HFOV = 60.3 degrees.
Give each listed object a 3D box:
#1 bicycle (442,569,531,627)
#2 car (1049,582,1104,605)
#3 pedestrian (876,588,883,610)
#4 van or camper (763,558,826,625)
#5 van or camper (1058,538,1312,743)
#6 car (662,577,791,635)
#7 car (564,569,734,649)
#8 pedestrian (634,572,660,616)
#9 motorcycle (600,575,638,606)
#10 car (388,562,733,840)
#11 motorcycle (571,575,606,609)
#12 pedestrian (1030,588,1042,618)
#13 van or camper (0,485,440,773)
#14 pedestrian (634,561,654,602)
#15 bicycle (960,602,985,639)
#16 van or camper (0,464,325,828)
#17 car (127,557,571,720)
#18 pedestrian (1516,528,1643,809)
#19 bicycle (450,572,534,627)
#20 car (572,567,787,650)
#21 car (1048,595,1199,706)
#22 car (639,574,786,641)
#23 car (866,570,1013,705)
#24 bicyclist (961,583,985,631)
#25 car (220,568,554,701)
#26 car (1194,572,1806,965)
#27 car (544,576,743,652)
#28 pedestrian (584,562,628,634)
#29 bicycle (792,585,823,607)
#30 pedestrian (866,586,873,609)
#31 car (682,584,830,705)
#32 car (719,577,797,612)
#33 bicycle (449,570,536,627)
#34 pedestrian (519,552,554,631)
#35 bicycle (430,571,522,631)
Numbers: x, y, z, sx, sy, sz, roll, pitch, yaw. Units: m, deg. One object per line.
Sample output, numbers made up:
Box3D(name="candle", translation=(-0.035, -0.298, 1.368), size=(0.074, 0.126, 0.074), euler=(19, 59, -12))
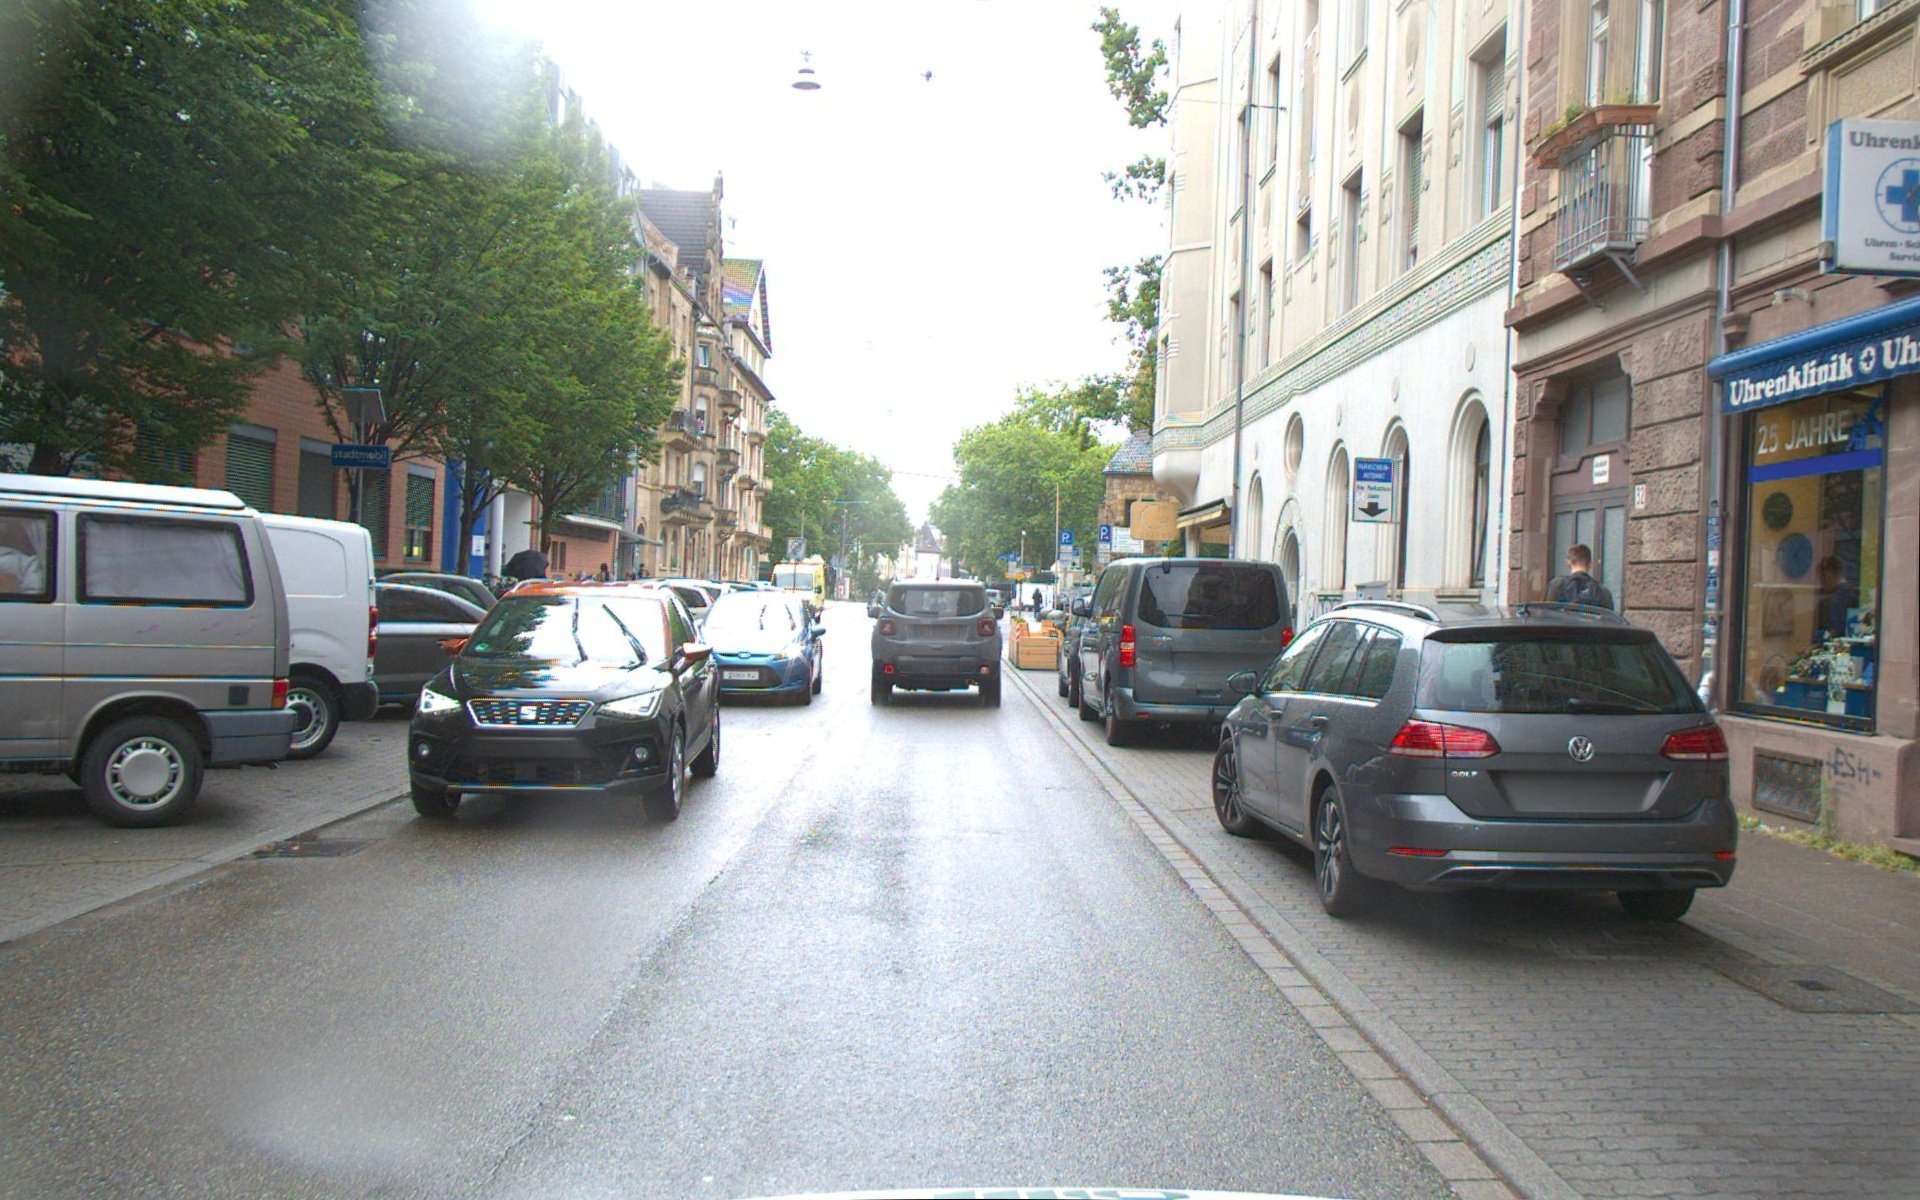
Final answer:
Box3D(name="bicycle", translation=(-11.250, -0.057, 39.336), size=(1.859, 1.172, 0.553), euler=(6, 0, -4))
Box3D(name="car", translation=(12.461, -0.711, 176.967), size=(5.781, 2.375, 2.060), euler=(1, 0, 2))
Box3D(name="pedestrian", translation=(-5.799, -0.084, 119.617), size=(0.458, 1.613, 0.752), euler=(2, 0, -2))
Box3D(name="van or camper", translation=(-7.005, -0.282, 70.738), size=(2.078, 2.575, 6.872), euler=(-2, -2, -1))
Box3D(name="van or camper", translation=(2.285, 0.369, 18.220), size=(1.980, 1.924, 5.053), euler=(1, 0, -1))
Box3D(name="car", translation=(-6.809, 0.188, 48.296), size=(3.342, 1.533, 1.663), euler=(3, 0, -32))
Box3D(name="car", translation=(-6.884, 0.203, 36.633), size=(3.346, 1.683, 1.615), euler=(1, 0, -34))
Box3D(name="pedestrian", translation=(-11.682, -0.232, 61.777), size=(0.694, 1.578, 0.608), euler=(4, 0, 6))
Box3D(name="motorcycle", translation=(-14.085, -0.394, 68.314), size=(0.560, 1.194, 1.780), euler=(4, 0, 22))
Box3D(name="car", translation=(-2.625, 0.594, 11.752), size=(1.636, 1.586, 4.001), euler=(2, 0, -3))
Box3D(name="motorcycle", translation=(-13.970, -0.307, 62.245), size=(0.738, 1.194, 2.115), euler=(4, 0, 0))
Box3D(name="pedestrian", translation=(4.492, 0.175, 97.978), size=(0.676, 1.741, 0.684), euler=(1, 0, -1))
Box3D(name="van or camper", translation=(-6.792, 0.177, 12.825), size=(4.659, 1.986, 2.301), euler=(4, 1, -43))
Box3D(name="pedestrian", translation=(-13.895, -0.804, 72.735), size=(0.652, 1.788, 0.790), euler=(1, 0, -25))
Box3D(name="bicycle", translation=(0.372, 0.612, 50.504), size=(0.690, 1.072, 1.812), euler=(1, 0, -1))
Box3D(name="van or camper", translation=(-6.209, 0.201, 9.554), size=(4.395, 2.009, 1.761), euler=(4, 0, -34))
Box3D(name="car", translation=(-6.297, 0.435, 17.283), size=(3.943, 1.472, 1.741), euler=(4, 0, -41))
Box3D(name="pedestrian", translation=(4.537, 0.496, 12.155), size=(0.664, 1.968, 0.810), euler=(2, -2, 7))
Box3D(name="bicycle", translation=(-11.779, -0.008, 41.637), size=(1.859, 1.172, 0.553), euler=(6, 0, -4))
Box3D(name="car", translation=(-6.692, 0.216, 39.608), size=(4.471, 1.566, 2.310), euler=(6, -3, -34))
Box3D(name="car", translation=(2.243, 0.662, 23.558), size=(1.675, 1.425, 3.704), euler=(1, 0, -2))
Box3D(name="car", translation=(-6.386, 0.193, 42.756), size=(3.343, 1.569, 1.662), euler=(3, 0, -32))
Box3D(name="car", translation=(-0.343, 0.482, 23.615), size=(1.860, 1.700, 4.504), euler=(1, 0, -2))
Box3D(name="bicyclist", translation=(0.384, 0.197, 50.504), size=(0.690, 1.428, 1.171), euler=(1, 0, -1))
Box3D(name="car", translation=(-6.853, 0.383, 19.963), size=(3.453, 1.460, 1.625), euler=(1, 0, -44))
Box3D(name="car", translation=(2.507, 0.691, 8.786), size=(1.804, 1.572, 4.002), euler=(1, 0, -2))
Box3D(name="car", translation=(-6.496, 0.276, 34.082), size=(3.673, 1.477, 1.664), euler=(1, 0, -37))
Box3D(name="pedestrian", translation=(-9.235, -0.052, 43.183), size=(0.808, 1.782, 0.757), euler=(4, 0, 6))
Box3D(name="bicycle", translation=(-10.527, -0.256, 114.302), size=(2.079, 1.469, 0.536), euler=(1, 0, -21))
Box3D(name="pedestrian", translation=(-6.477, -0.199, 118.672), size=(0.458, 1.613, 0.752), euler=(2, 0, -2))
Box3D(name="car", translation=(-2.729, 0.559, 22.868), size=(1.636, 1.491, 4.002), euler=(1, 0, -2))
Box3D(name="car", translation=(-10.544, -0.275, 86.419), size=(3.626, 1.586, 1.776), euler=(4, -1, -37))
Box3D(name="bicycle", translation=(-11.311, -0.038, 40.047), size=(1.859, 1.172, 0.553), euler=(6, 0, -4))
Box3D(name="pedestrian", translation=(-9.432, -0.184, 36.813), size=(0.599, 1.737, 0.433), euler=(2, -2, -1))
Box3D(name="bicycle", translation=(-11.220, 0.024, 38.346), size=(1.859, 1.172, 0.553), euler=(6, 0, -4))
